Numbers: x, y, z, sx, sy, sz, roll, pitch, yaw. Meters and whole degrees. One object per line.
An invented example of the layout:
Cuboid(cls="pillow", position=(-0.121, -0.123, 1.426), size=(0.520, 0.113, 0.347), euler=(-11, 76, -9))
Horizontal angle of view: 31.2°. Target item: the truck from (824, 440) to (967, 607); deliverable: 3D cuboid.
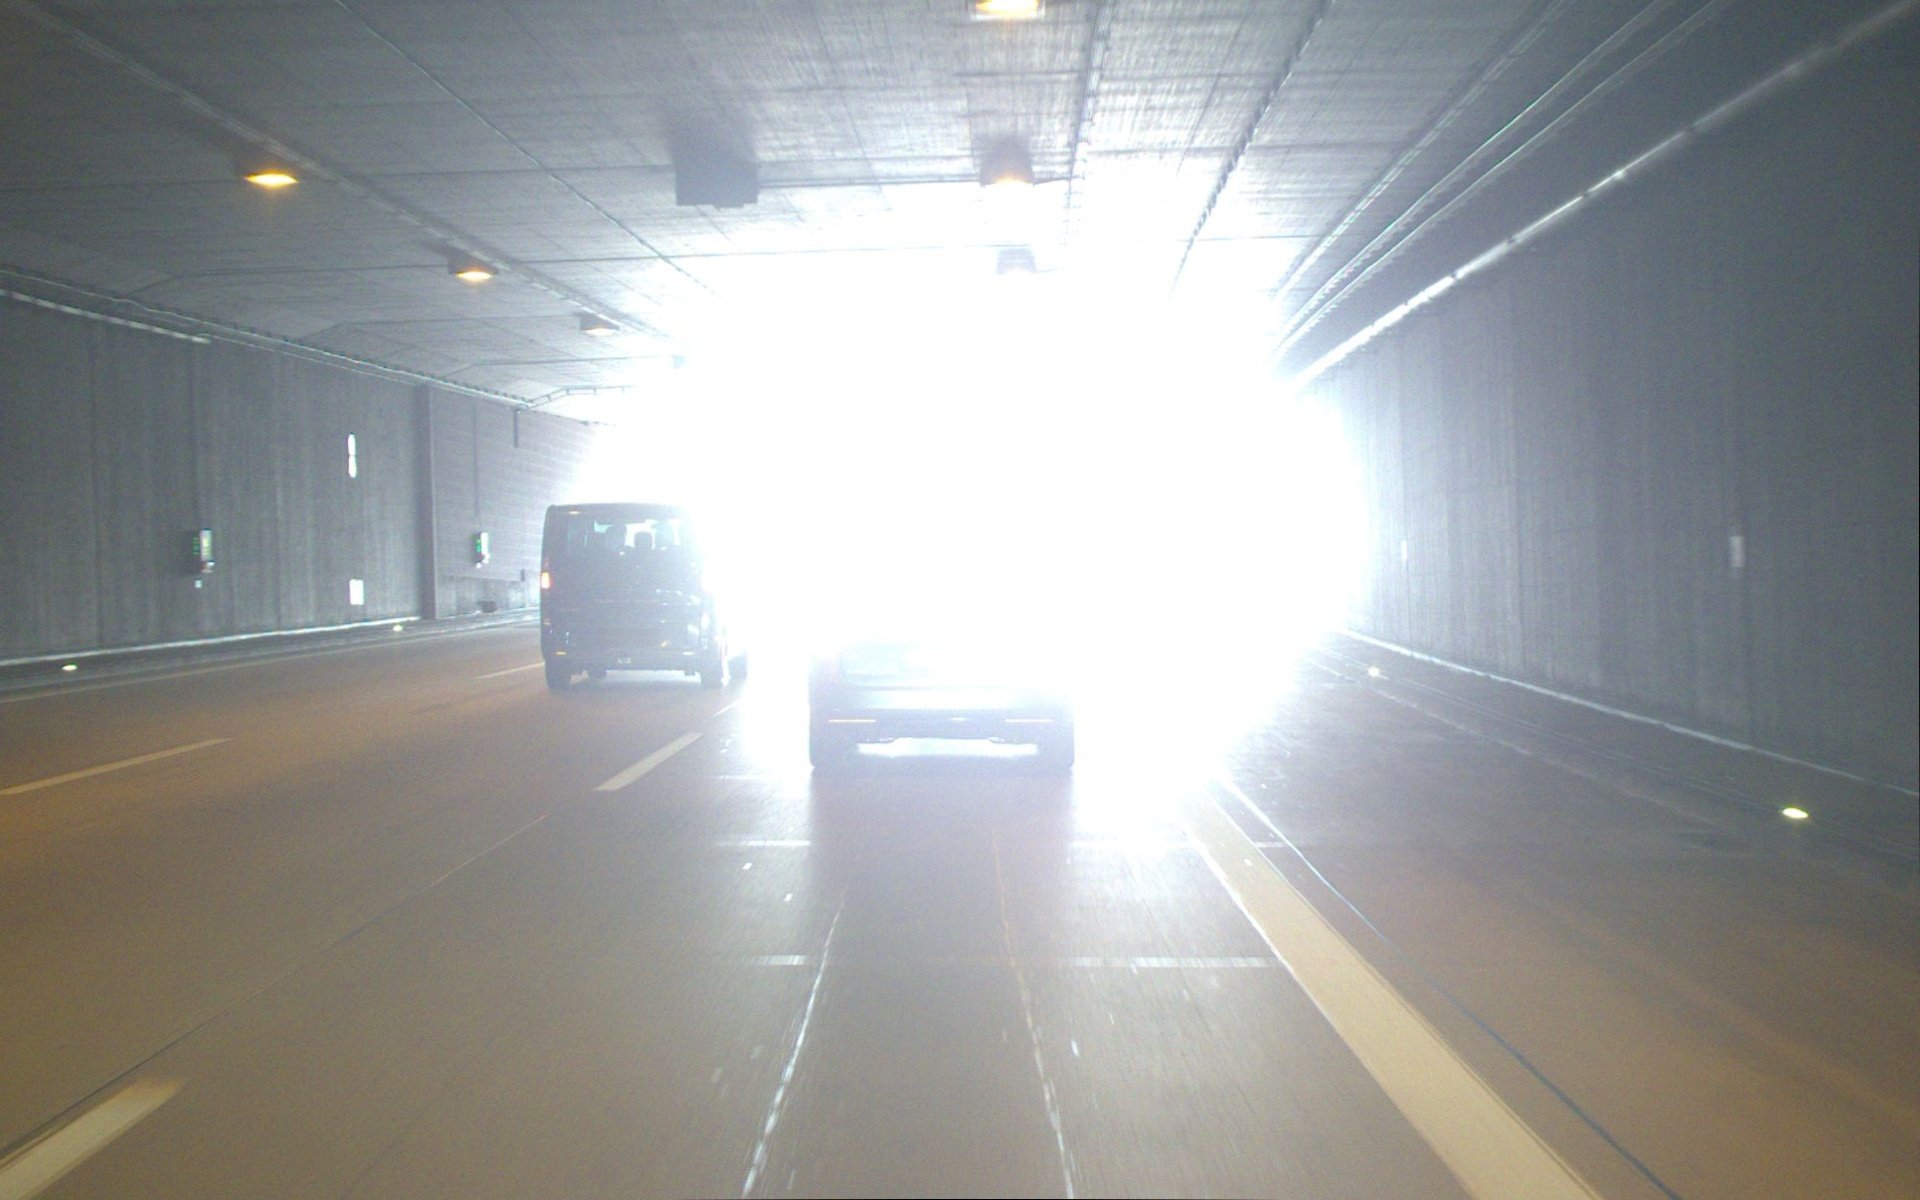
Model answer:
Cuboid(cls="truck", position=(-1.411, -1.746, 79.407), size=(3.039, 3.660, 7.393), euler=(0, 1, 1))

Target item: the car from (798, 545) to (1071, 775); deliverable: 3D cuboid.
Cuboid(cls="car", position=(-0.165, 0.352, 23.956), size=(1.742, 1.459, 3.871), euler=(0, 1, 0))

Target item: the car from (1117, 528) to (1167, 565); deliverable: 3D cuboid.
Cuboid(cls="car", position=(8.593, -2.509, 162.247), size=(1.994, 1.626, 3.998), euler=(0, -1, 9))

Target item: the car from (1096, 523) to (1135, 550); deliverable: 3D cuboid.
Cuboid(cls="car", position=(9.450, -3.838, 208.758), size=(1.931, 1.637, 3.999), euler=(0, 1, 9))

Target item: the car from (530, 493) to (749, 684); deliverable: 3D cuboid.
Cuboid(cls="car", position=(-3.384, -0.152, 36.933), size=(1.909, 1.938, 3.871), euler=(0, 1, 1))

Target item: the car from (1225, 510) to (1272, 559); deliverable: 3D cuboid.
Cuboid(cls="car", position=(13.072, -2.948, 155.547), size=(1.994, 2.007, 3.999), euler=(-1, -1, 7))

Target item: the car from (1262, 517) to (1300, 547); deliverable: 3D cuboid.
Cuboid(cls="car", position=(17.729, -3.741, 189.791), size=(1.931, 1.637, 3.999), euler=(0, 1, 7))

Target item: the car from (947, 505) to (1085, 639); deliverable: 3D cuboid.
Cuboid(cls="car", position=(0.841, -0.420, 49.493), size=(1.857, 1.848, 4.000), euler=(0, 1, 3))

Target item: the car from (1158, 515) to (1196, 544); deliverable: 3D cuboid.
Cuboid(cls="car", position=(13.101, -4.220, 207.013), size=(1.994, 1.626, 3.999), euler=(0, -1, 8))

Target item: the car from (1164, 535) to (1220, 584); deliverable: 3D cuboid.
Cuboid(cls="car", position=(8.525, -1.458, 126.018), size=(1.931, 1.637, 3.999), euler=(0, -1, 5))
